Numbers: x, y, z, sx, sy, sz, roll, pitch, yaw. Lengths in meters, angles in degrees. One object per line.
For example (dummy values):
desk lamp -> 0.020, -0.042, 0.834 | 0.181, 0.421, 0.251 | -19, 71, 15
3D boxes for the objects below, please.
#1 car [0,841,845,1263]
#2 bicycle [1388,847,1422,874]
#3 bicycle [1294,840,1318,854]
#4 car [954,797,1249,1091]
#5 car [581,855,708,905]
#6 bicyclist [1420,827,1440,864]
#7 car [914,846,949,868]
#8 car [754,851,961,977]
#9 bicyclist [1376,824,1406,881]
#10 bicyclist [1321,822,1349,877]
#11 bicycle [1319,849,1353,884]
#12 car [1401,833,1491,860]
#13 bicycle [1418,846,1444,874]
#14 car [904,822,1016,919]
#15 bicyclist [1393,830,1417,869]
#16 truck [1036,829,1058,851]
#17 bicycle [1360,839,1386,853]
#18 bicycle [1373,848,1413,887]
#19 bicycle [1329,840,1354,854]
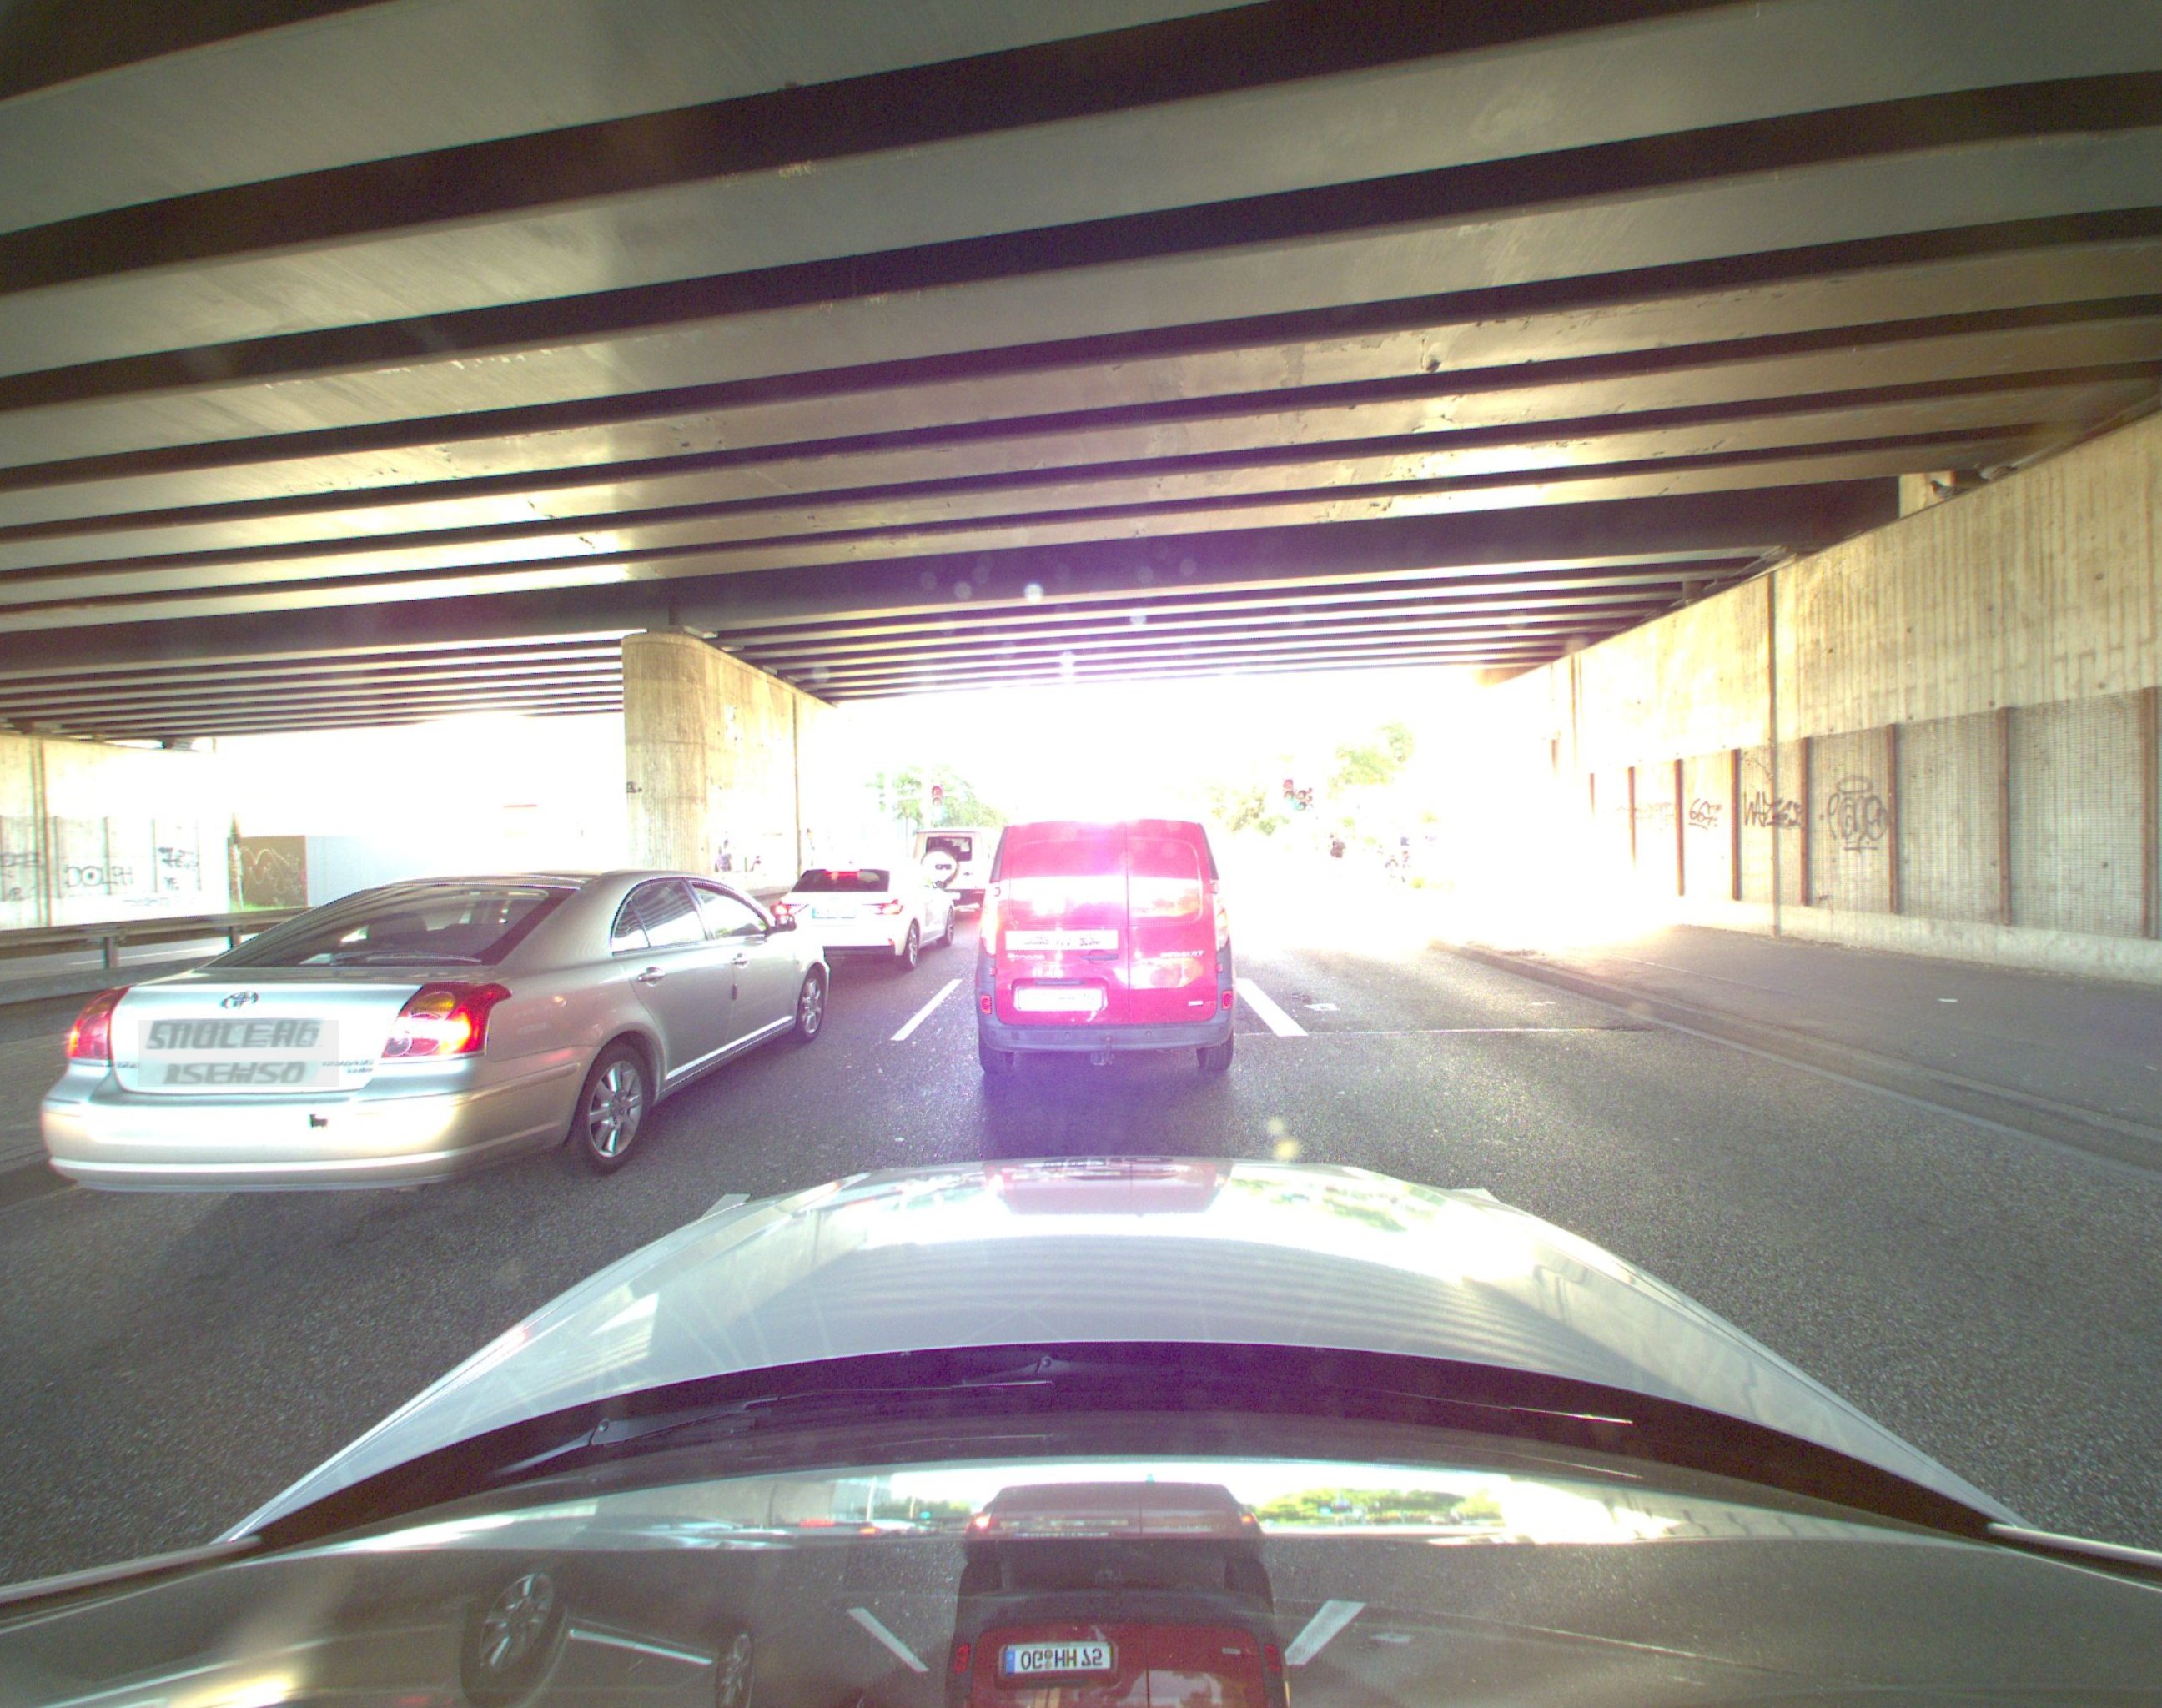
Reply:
car -> -3.008, 0.713, 5.099 | 1.727, 1.480, 4.319 | -1, 0, 0
bicycle -> 12.533, 0.261, 31.558 | 0.668, 1.023, 2.059 | 0, -1, 6
bicycle -> 17.186, -0.510, 62.149 | 1.734, 1.023, 0.595 | -1, -1, 10
car -> 0.187, 0.567, 7.007 | 1.798, 1.794, 4.001 | 0, -1, 2
car -> -14.952, 0.848, 28.113 | 1.606, 1.519, 3.841 | -2, 1, 15
bicyclist -> 14.171, -0.336, 33.098 | 0.645, 1.480, 0.620 | -1, 1, 13
car -> -13.198, 0.250, 72.127 | 1.817, 1.737, 4.634 | -4, 0, 4
car -> -2.950, 0.718, 11.604 | 1.807, 1.438, 3.732 | -1, 1, 1
bicyclist -> 8.480, -0.036, 22.305 | 0.589, 1.548, 0.770 | 0, -1, 6
bicyclist -> 7.586, -0.121, 24.375 | 0.589, 1.613, 0.943 | 0, -1, 4
bicycle -> 7.598, 0.366, 24.284 | 0.589, 1.023, 1.752 | 0, -1, 5
car -> 21.544, -0.419, 48.178 | 4.521, 1.514, 1.832 | -1, -1, 9
bicycle -> 14.203, 0.240, 33.097 | 0.662, 1.023, 1.757 | -1, 2, 14
car -> -2.677, 0.354, 19.112 | 1.794, 1.989, 4.591 | 0, -1, 2
bicyclist -> 12.526, -0.172, 31.530 | 0.662, 1.474, 0.752 | 0, -1, 5
truck -> -4.961, -2.025, 118.690 | 2.399, 3.026, 6.661 | -4, 0, 3
bicycle -> 21.304, -0.588, 59.511 | 1.733, 1.023, 0.596 | -1, -1, 13
bicycle -> 8.511, 0.371, 22.298 | 0.589, 1.023, 1.753 | 0, -1, 6
bicycle -> 19.418, -0.538, 60.707 | 1.734, 1.023, 0.595 | -1, -1, 10
